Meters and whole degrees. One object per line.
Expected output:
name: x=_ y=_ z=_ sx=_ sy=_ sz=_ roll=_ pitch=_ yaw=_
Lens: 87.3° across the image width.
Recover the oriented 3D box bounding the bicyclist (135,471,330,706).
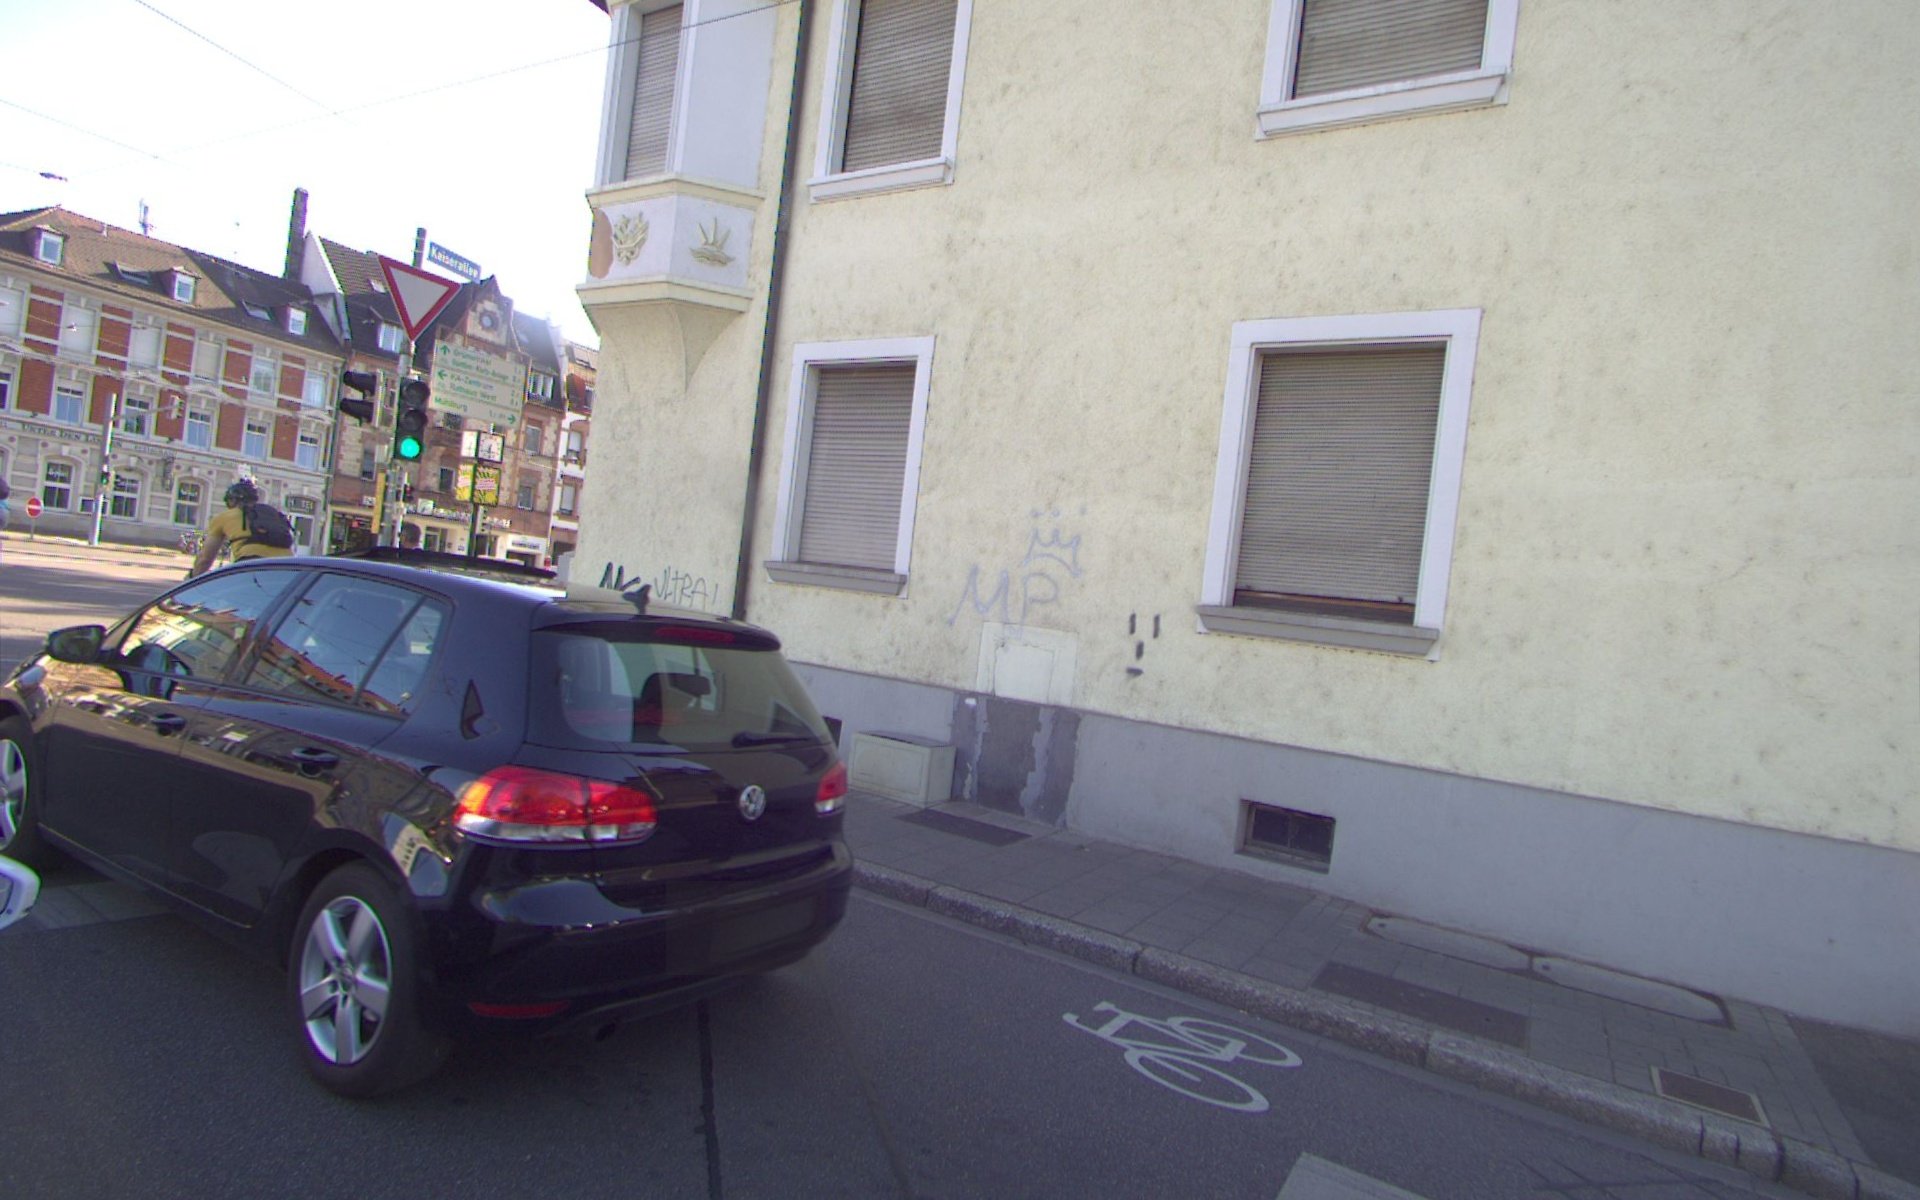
bicyclist: x=-5.671 y=-0.079 z=7.857 sx=0.869 sy=1.682 sz=0.807 roll=6 pitch=-1 yaw=32

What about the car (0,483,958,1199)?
car: x=-2.233 y=0.577 z=4.114 sx=3.983 sy=1.525 sz=1.732 roll=9 pitch=-1 yaw=32

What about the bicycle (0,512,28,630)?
bicycle: x=-11.081 y=-0.408 z=11.126 sx=1.677 sy=1.251 sz=0.755 roll=6 pitch=-2 yaw=37

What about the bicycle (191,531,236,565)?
bicycle: x=-34.199 y=-2.379 z=46.065 sx=2.618 sy=1.301 sz=0.693 roll=6 pitch=-1 yaw=33

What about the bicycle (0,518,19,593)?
bicycle: x=-14.592 y=-0.722 z=15.022 sx=1.748 sy=1.043 sz=0.648 roll=6 pitch=-2 yaw=45

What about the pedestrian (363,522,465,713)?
pedestrian: x=-5.347 y=0.164 z=9.882 sx=0.631 sy=1.780 sz=0.584 roll=4 pitch=3 yaw=-7

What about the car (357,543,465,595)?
car: x=-25.503 y=-1.403 z=46.847 sx=1.967 sy=1.798 sz=3.790 roll=6 pitch=-2 yaw=31

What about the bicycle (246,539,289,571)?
bicycle: x=-33.050 y=-2.151 z=47.991 sx=2.618 sy=1.301 sz=0.629 roll=6 pitch=-1 yaw=33

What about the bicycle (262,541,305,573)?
bicycle: x=-32.680 y=-2.070 z=48.580 sx=2.618 sy=1.301 sz=0.629 roll=6 pitch=-1 yaw=33

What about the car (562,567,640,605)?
car: x=-23.243 y=-0.877 z=65.284 sx=1.967 sy=1.798 sz=4.374 roll=6 pitch=-2 yaw=31

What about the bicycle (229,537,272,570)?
bicycle: x=-33.417 y=-2.214 z=47.361 sx=2.618 sy=1.301 sz=0.629 roll=6 pitch=-1 yaw=33

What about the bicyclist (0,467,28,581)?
bicyclist: x=-14.464 y=-1.164 z=14.962 sx=0.872 sy=1.652 sz=0.688 roll=6 pitch=-1 yaw=44

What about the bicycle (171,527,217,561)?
bicycle: x=-34.609 y=-2.531 z=45.441 sx=2.618 sy=1.301 sz=0.693 roll=6 pitch=-1 yaw=33

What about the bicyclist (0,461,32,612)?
bicyclist: x=-10.926 y=-0.751 z=11.044 sx=0.870 sy=1.625 sz=0.806 roll=6 pitch=-1 yaw=37

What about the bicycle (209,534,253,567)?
bicycle: x=-33.832 y=-2.314 z=46.689 sx=2.618 sy=1.301 sz=0.629 roll=6 pitch=-1 yaw=33

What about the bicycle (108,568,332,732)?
bicycle: x=-5.838 y=0.380 z=7.917 sx=1.751 sy=1.043 sz=0.756 roll=6 pitch=-2 yaw=33
